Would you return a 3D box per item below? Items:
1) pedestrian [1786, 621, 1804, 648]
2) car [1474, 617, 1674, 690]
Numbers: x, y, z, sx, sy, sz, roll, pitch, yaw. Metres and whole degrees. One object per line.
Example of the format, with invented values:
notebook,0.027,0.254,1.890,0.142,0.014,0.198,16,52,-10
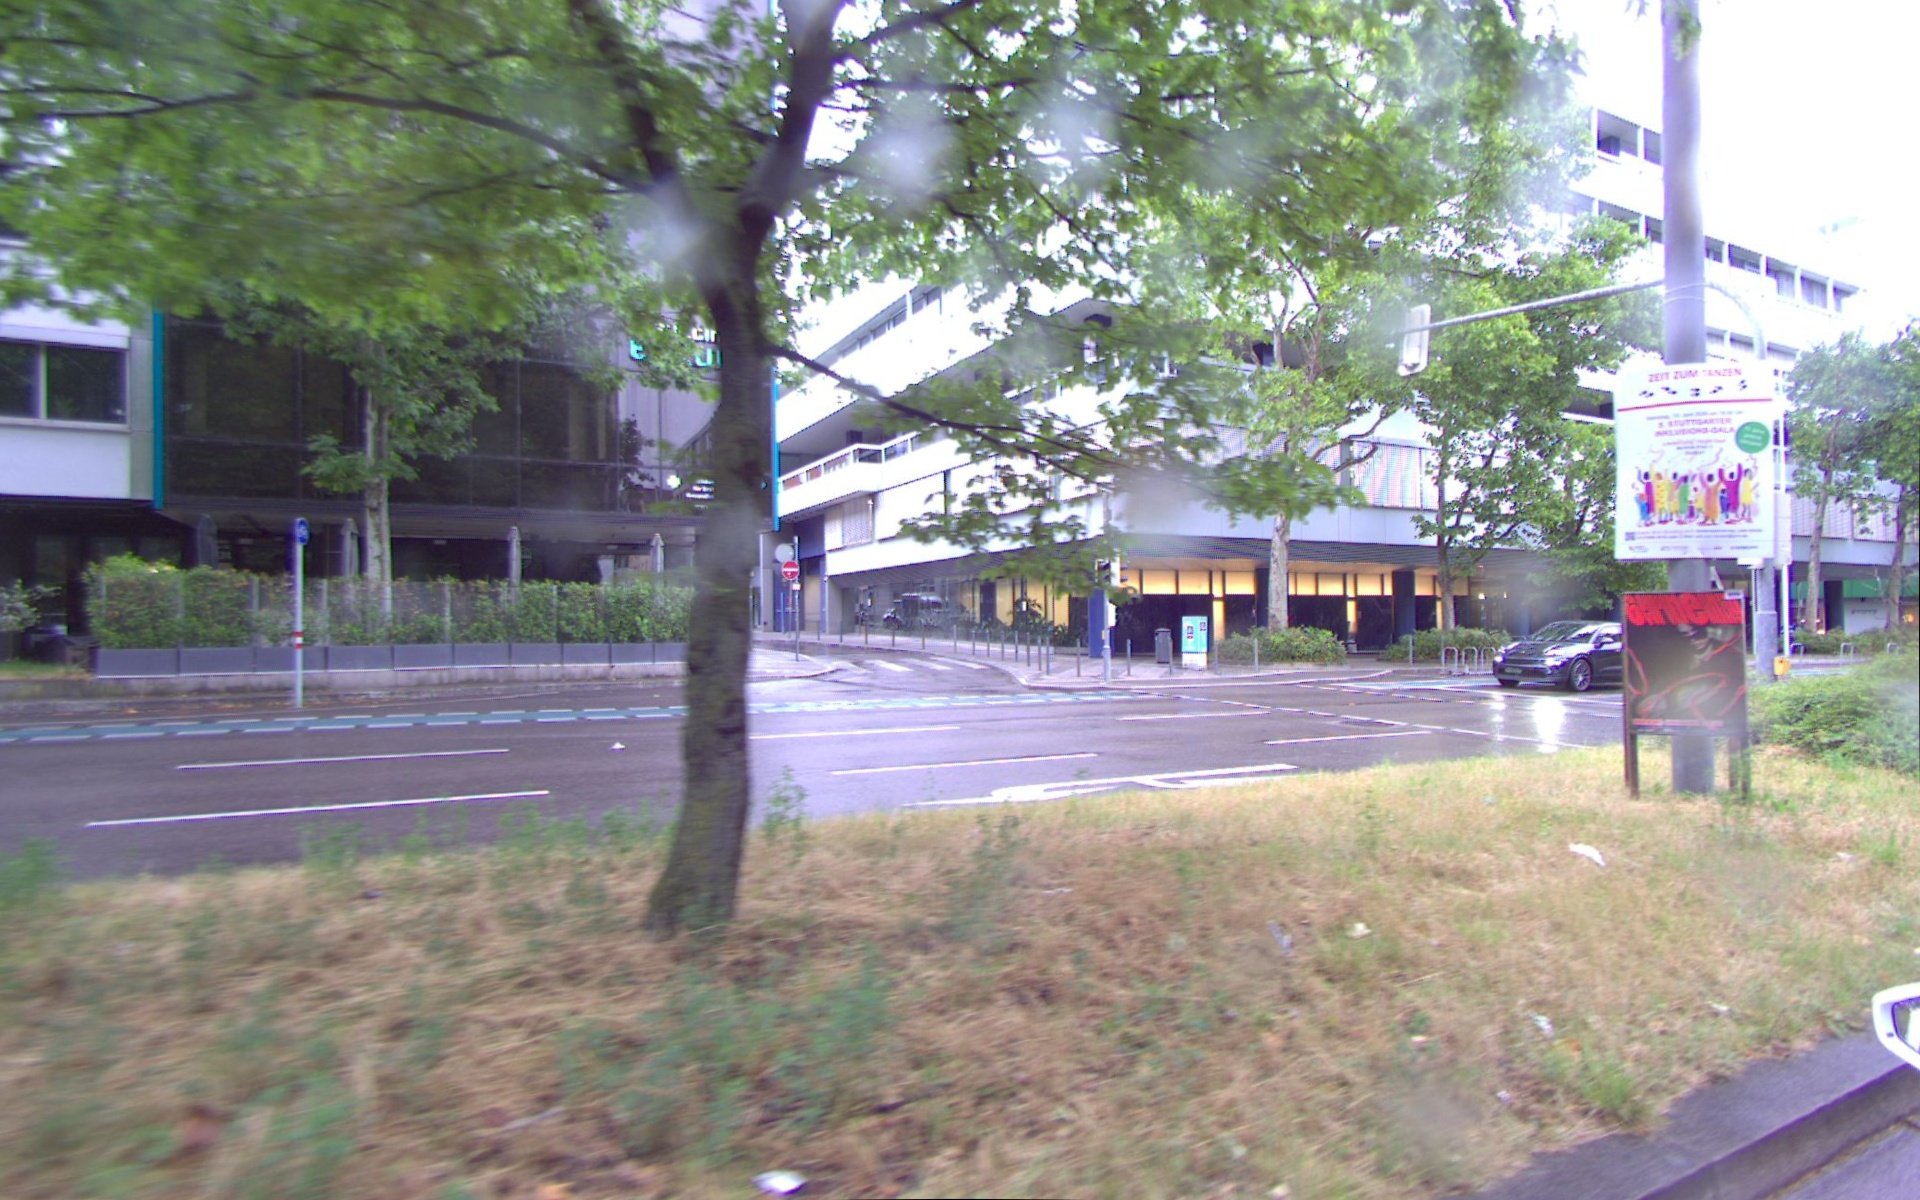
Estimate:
pedestrian,43.739,1.803,52.628,0.470,1.398,0.632,2,0,-40
car,15.010,1.299,24.526,4.683,1.605,1.903,2,0,-26
